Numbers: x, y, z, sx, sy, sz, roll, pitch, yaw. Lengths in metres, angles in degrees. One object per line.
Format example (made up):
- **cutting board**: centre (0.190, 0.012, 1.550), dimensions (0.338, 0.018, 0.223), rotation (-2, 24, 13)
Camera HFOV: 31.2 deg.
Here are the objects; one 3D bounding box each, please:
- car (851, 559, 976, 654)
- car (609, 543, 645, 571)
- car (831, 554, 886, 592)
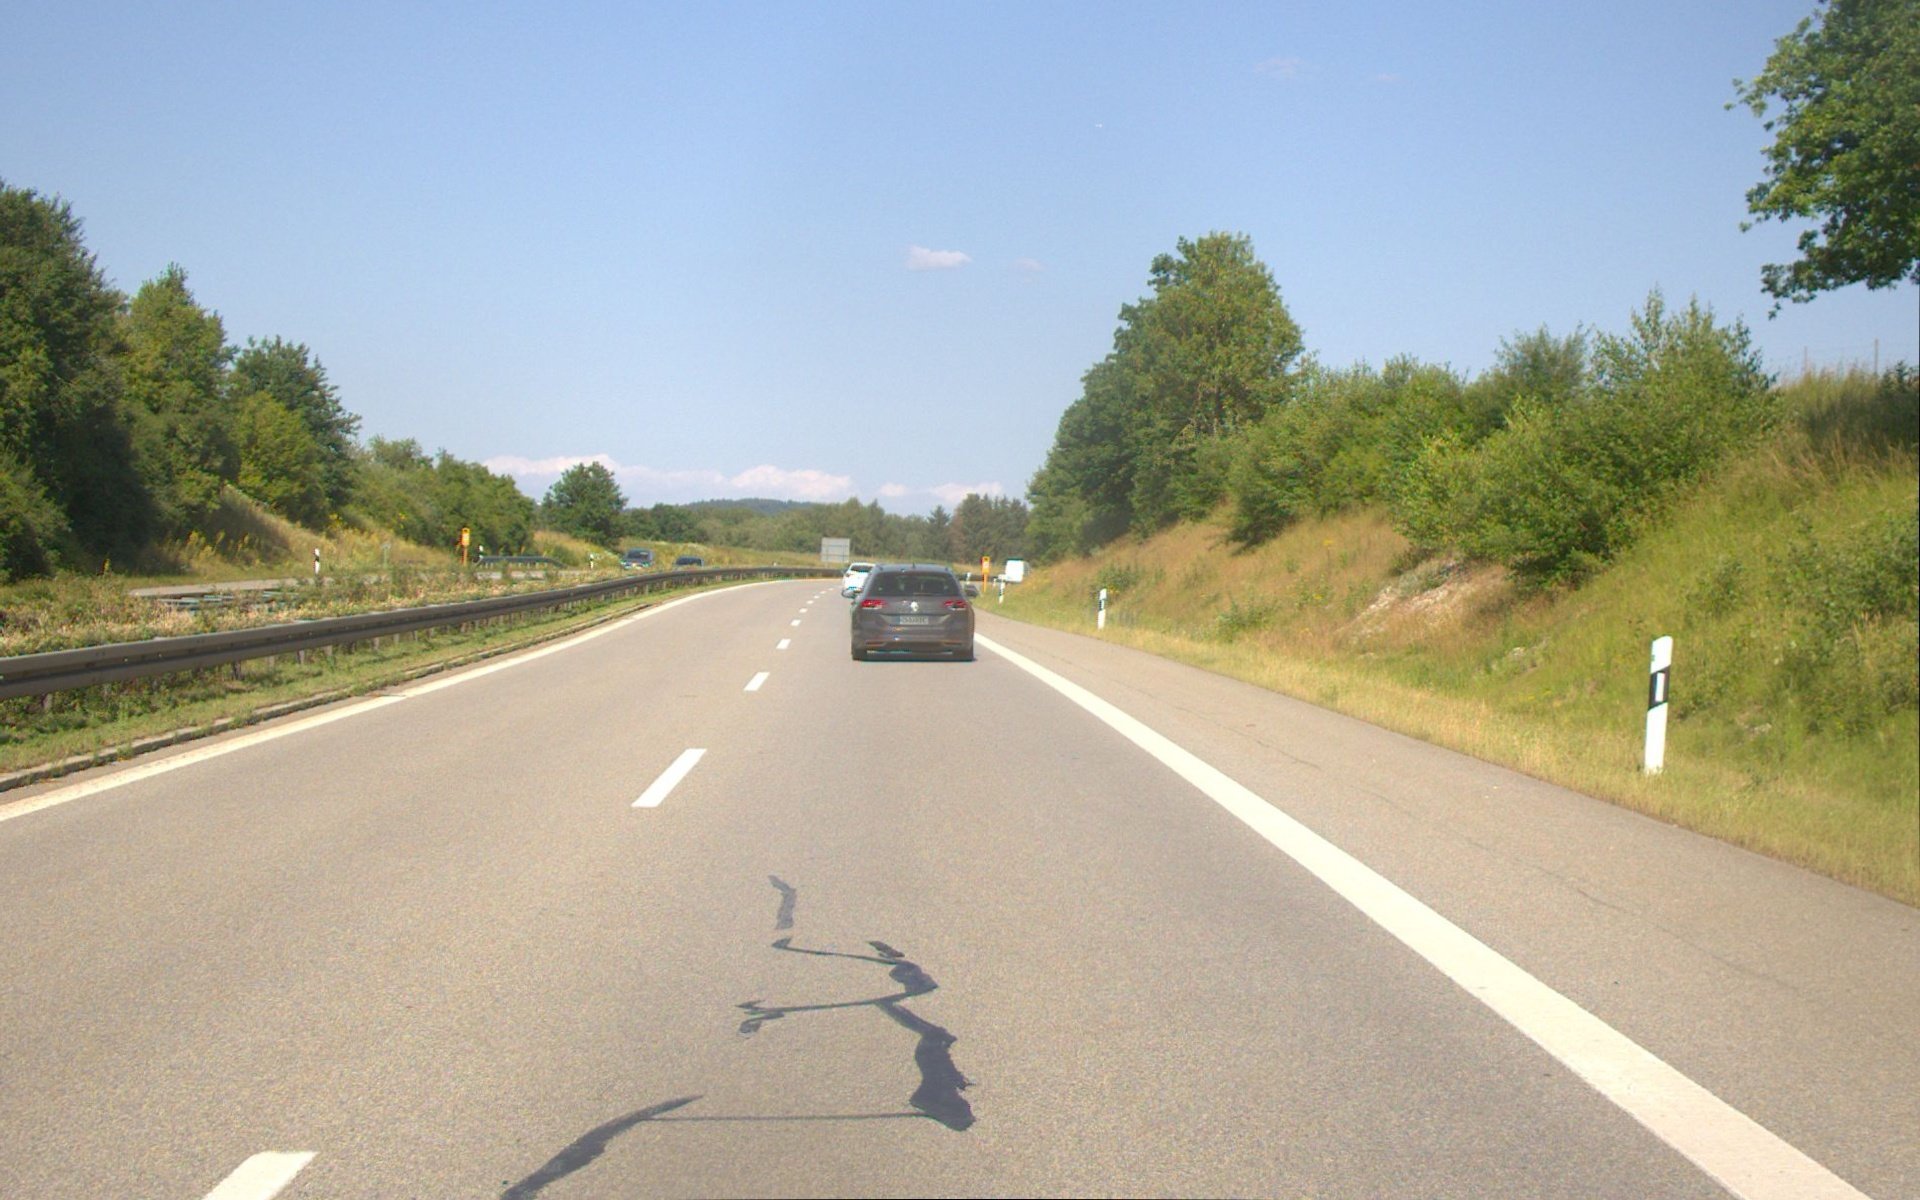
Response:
- **car**: centre (-0.690, 0.074, 51.281), dimensions (1.791, 1.340, 4.000), rotation (1, 1, -1)
- **car**: centre (-19.862, -2.545, 205.080), dimensions (1.767, 1.579, 4.793), rotation (3, 0, -2)
- **car**: centre (-4.295, -1.120, 144.826), dimensions (2.007, 1.340, 4.000), rotation (6, 0, -4)
